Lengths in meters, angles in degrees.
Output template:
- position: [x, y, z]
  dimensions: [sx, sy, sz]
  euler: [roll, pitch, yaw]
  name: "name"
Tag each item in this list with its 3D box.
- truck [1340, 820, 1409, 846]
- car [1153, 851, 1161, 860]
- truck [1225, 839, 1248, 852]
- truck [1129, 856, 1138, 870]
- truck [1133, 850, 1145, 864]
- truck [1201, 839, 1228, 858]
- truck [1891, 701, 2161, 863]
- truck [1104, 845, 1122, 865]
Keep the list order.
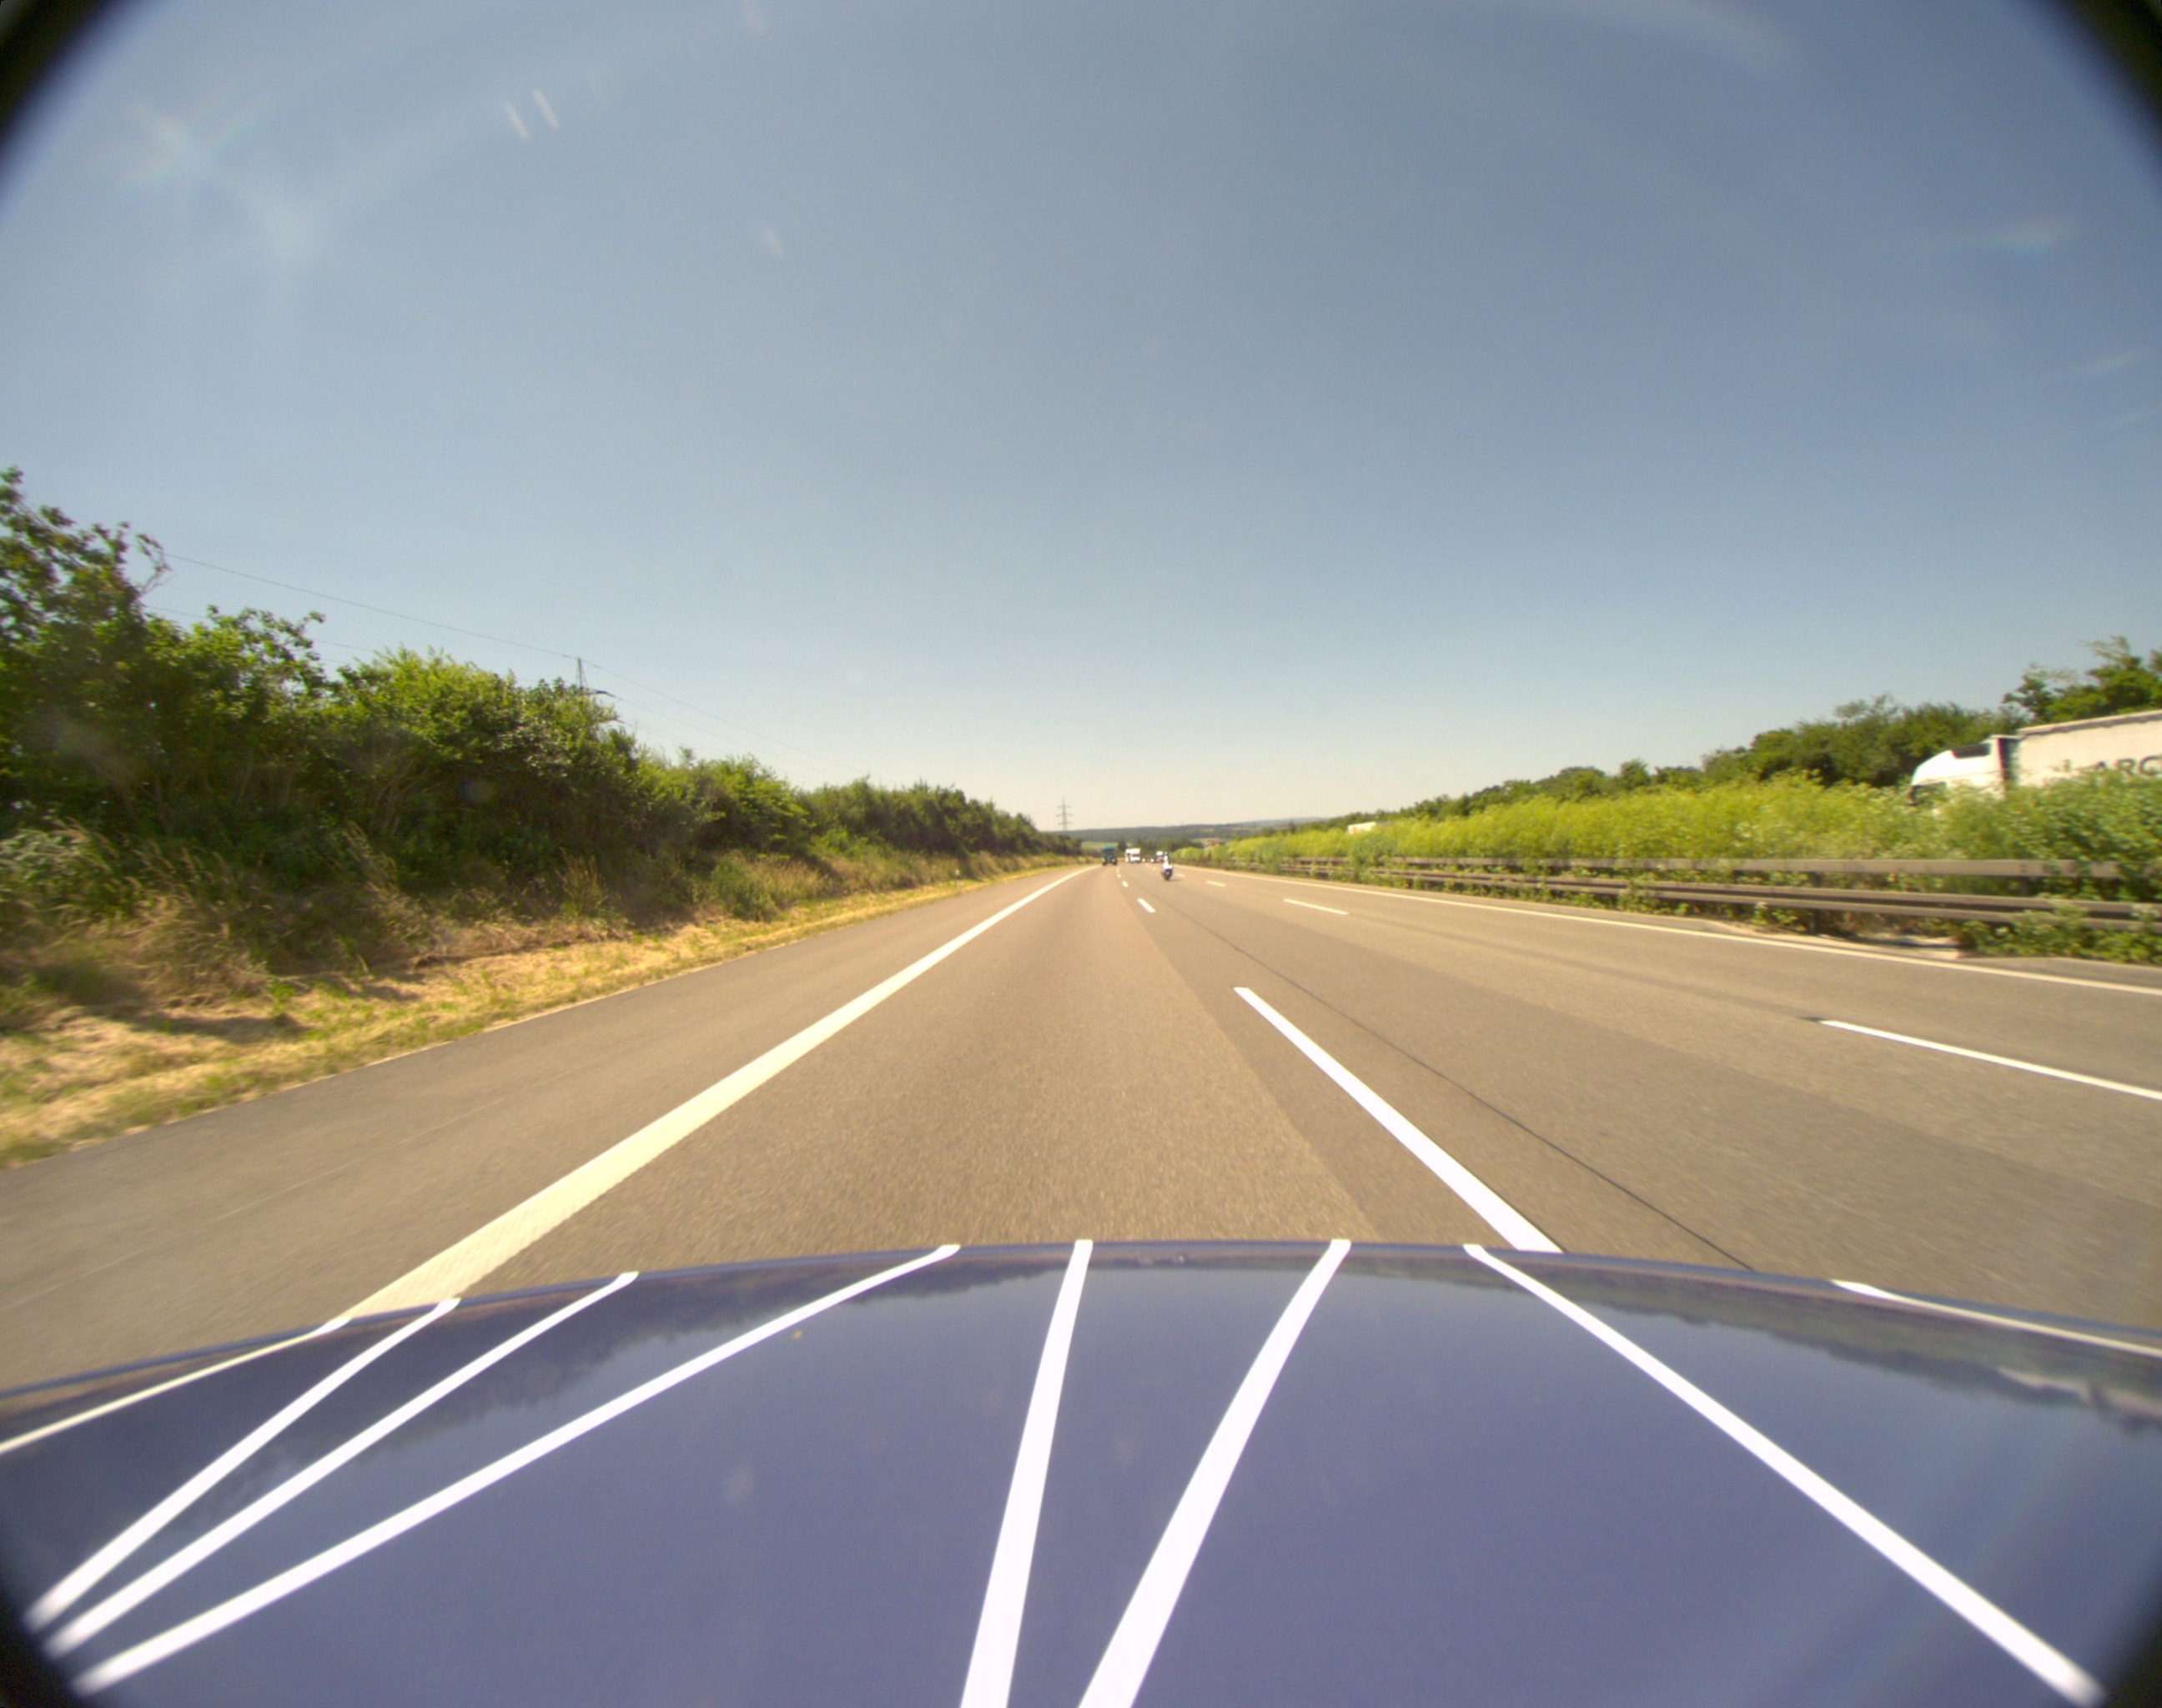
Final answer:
- position: [26.606, -1.854, 69.367]
  dimensions: [2.659, 2.002, 9.858]
  euler: [-1, 0, 1]
  name: "truck"
- position: [16.343, 0.346, 163.517]
  dimensions: [1.704, 1.958, 4.001]
  euler: [-1, 0, 4]
  name: "car"
- position: [25.276, -1.368, 123.836]
  dimensions: [2.498, 2.002, 6.797]
  euler: [-1, 0, 1]
  name: "truck"
- position: [16.660, 2.883, 242.214]
  dimensions: [2.567, 4.129, 6.250]
  euler: [-1, 0, 3]
  name: "truck"
- position: [13.086, 0.670, 172.393]
  dimensions: [2.512, 3.268, 8.109]
  euler: [-1, 0, 3]
  name: "truck"
- position: [28.841, -1.076, 165.143]
  dimensions: [3.237, 3.590, 18.534]
  euler: [-4, -1, 2]
  name: "truck"
- position: [24.935, -1.595, 13.724]
  dimensions: [2.812, 3.527, 16.837]
  euler: [0, 0, 1]
  name: "truck"
- position: [6.225, 0.250, 144.470]
  dimensions: [2.871, 3.701, 12.768]
  euler: [-1, 0, 4]
  name: "truck"
